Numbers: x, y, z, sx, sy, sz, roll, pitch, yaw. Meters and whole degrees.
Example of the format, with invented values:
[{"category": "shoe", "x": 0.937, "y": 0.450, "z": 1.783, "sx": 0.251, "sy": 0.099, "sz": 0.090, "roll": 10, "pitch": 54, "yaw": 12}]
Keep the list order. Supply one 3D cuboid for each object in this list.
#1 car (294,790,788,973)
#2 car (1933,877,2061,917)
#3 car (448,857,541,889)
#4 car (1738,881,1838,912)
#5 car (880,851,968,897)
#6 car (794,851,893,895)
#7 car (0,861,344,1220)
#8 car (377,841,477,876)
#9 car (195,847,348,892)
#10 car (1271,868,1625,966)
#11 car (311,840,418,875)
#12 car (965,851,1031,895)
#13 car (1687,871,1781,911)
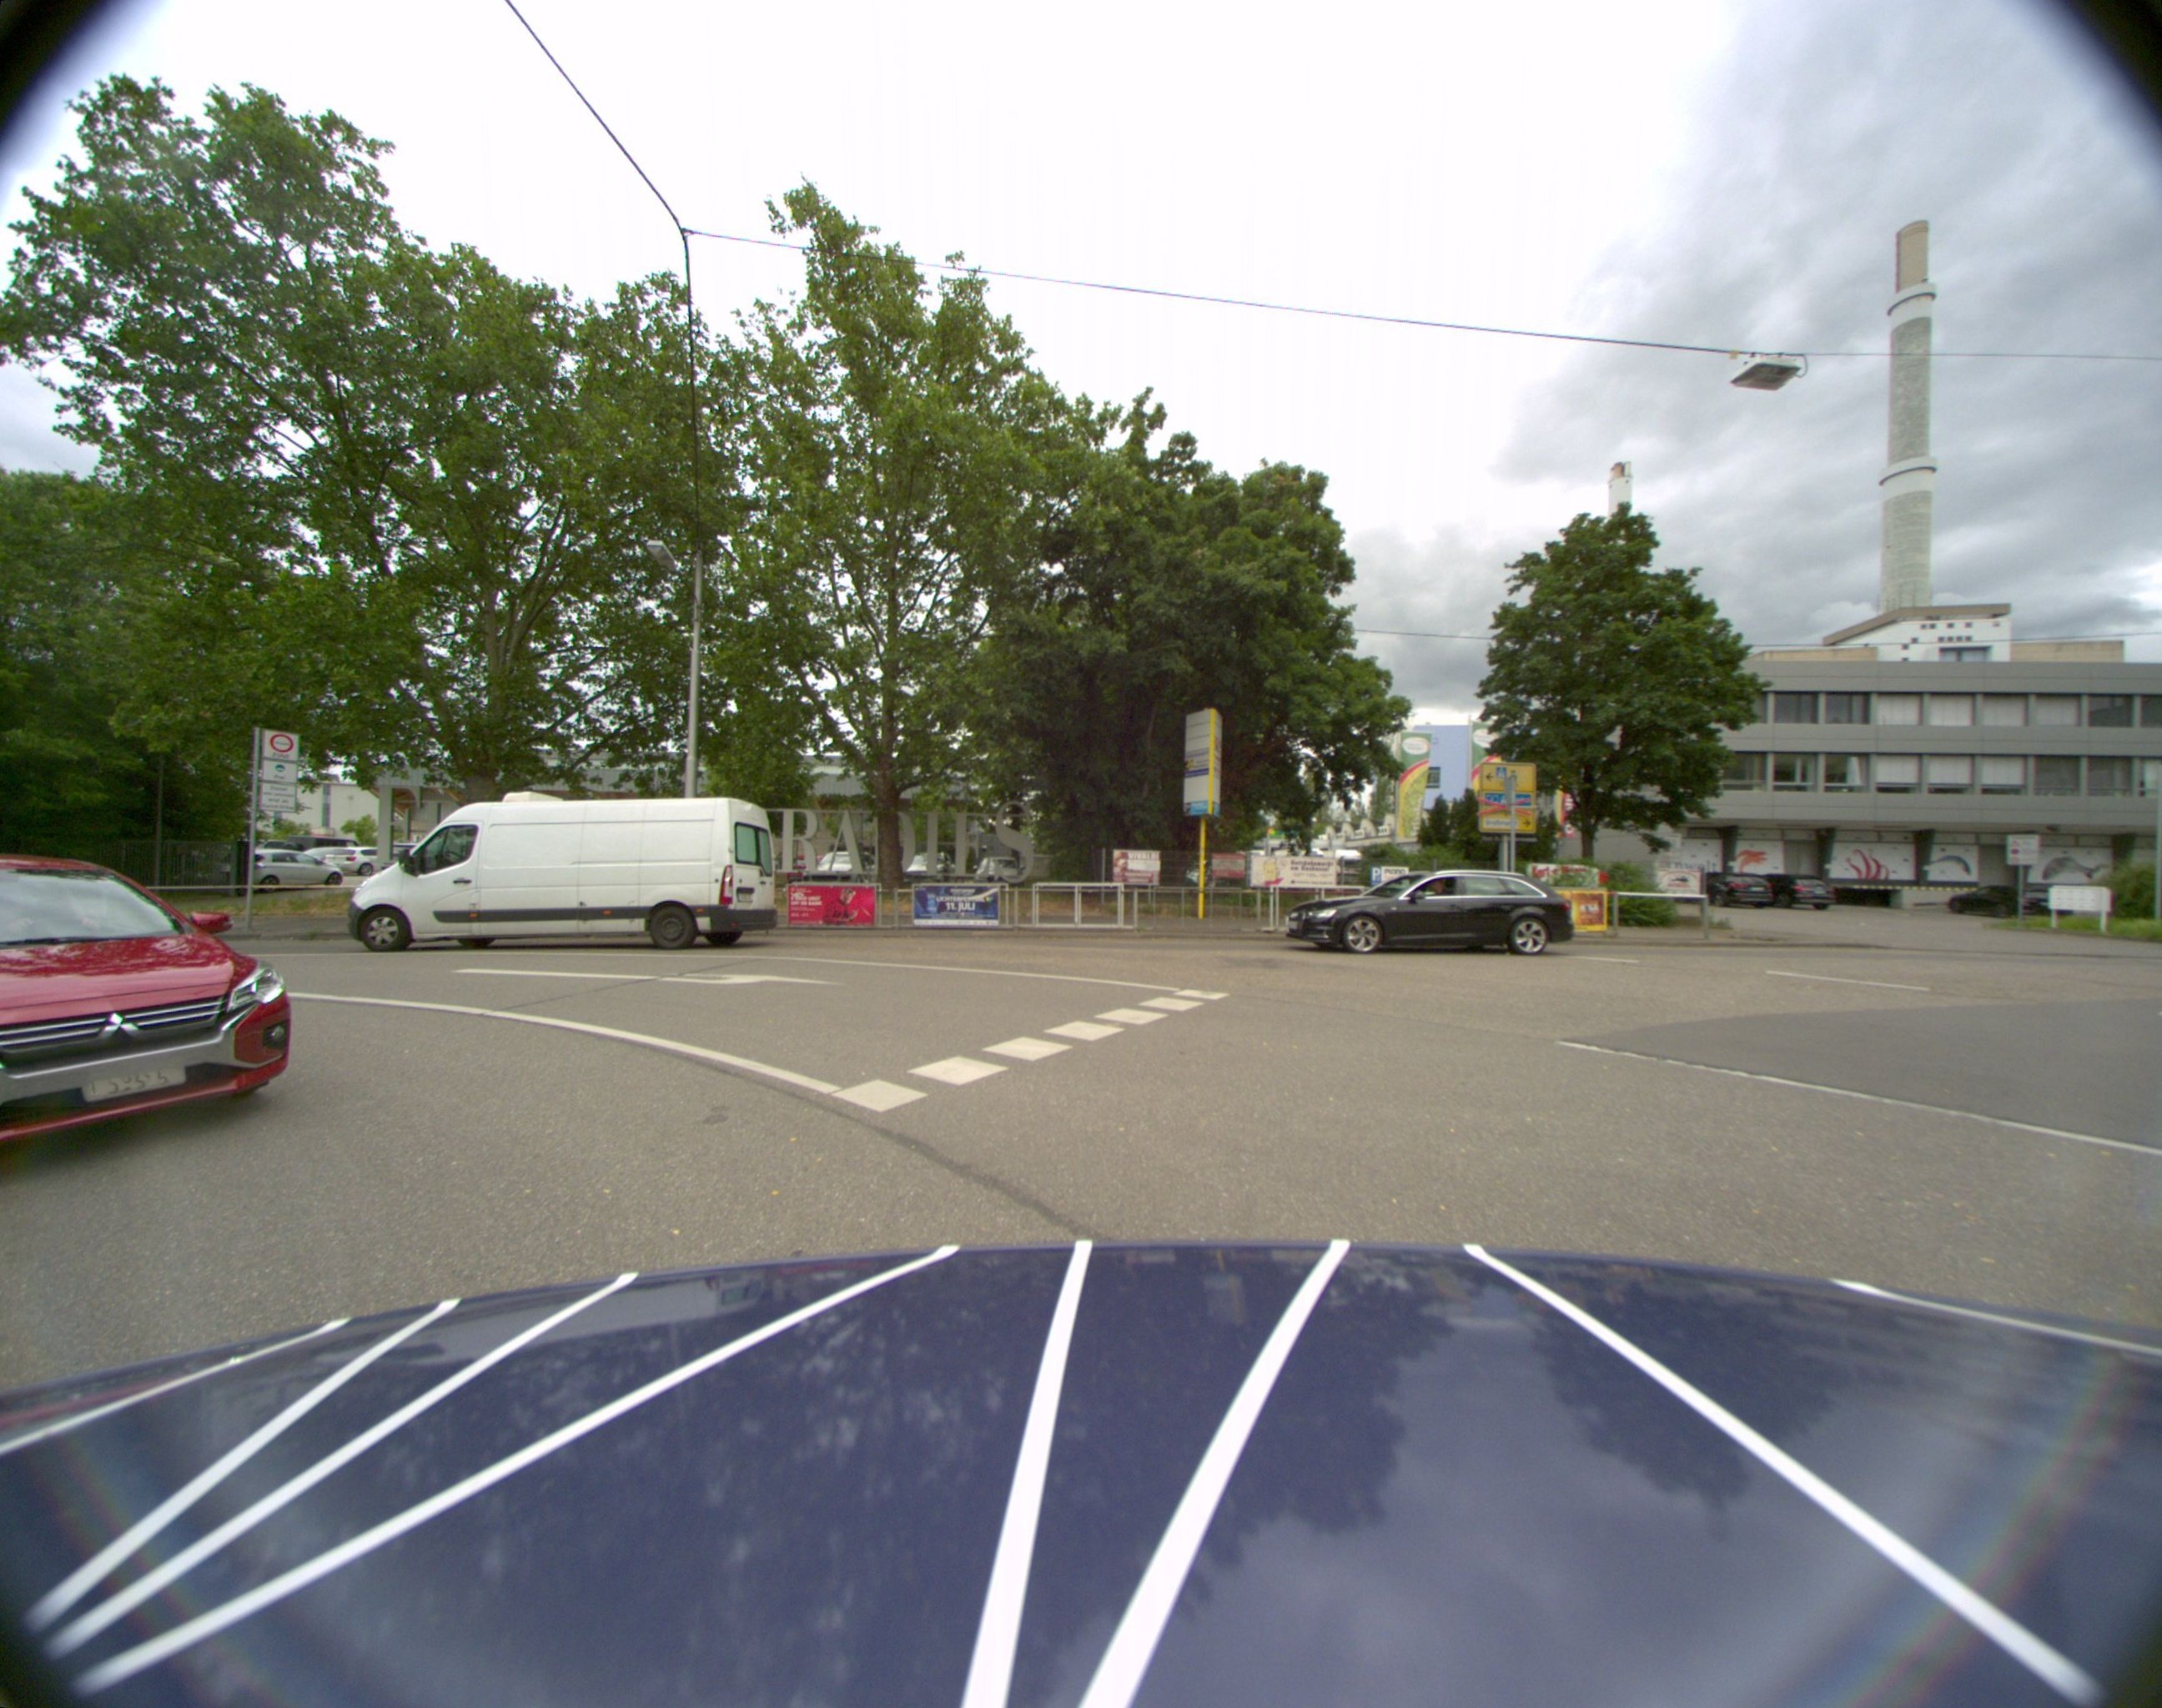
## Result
[{"category": "car", "x": -8.591, "y": 0.406, "z": 12.618, "sx": 6.479, "sy": 2.527, "sz": 2.192, "roll": -2, "pitch": 1, "yaw": -1}, {"category": "car", "x": 41.960, "y": 1.944, "z": 34.932, "sx": 1.747, "sy": 1.543, "sz": 3.611, "roll": -2, "pitch": 1, "yaw": 7}, {"category": "car", "x": -30.219, "y": 0.966, "z": 39.287, "sx": 1.916, "sy": 1.499, "sz": 3.998, "roll": 2, "pitch": -1, "yaw": -5}, {"category": "car", "x": 34.301, "y": 2.041, "z": 36.991, "sx": 1.775, "sy": 1.171, "sz": 3.574, "roll": -2, "pitch": 1, "yaw": 7}, {"category": "car", "x": -5.789, "y": 0.687, "z": 28.681, "sx": 1.998, "sy": 1.449, "sz": 4.701, "roll": -2, "pitch": 1, "yaw": 4}, {"category": "car", "x": -8.915, "y": 0.651, "z": 29.019, "sx": 1.998, "sy": 1.449, "sz": 4.701, "roll": -2, "pitch": 1, "yaw": 4}, {"category": "car", "x": -6.307, "y": 0.814, "z": 4.165, "sx": 3.732, "sy": 1.521, "sz": 1.771, "roll": 0, "pitch": 1, "yaw": 20}, {"category": "car", "x": -33.572, "y": 0.247, "z": 39.174, "sx": 1.916, "sy": 1.690, "sz": 3.998, "roll": 2, "pitch": -1, "yaw": -5}, {"category": "car", "x": -30.633, "y": 0.586, "z": 28.930, "sx": 1.916, "sy": 1.566, "sz": 3.770, "roll": 2, "pitch": -1, "yaw": -5}, {"category": "car", "x": 6.205, "y": 1.049, "z": 13.247, "sx": 5.219, "sy": 1.448, "sz": 2.000, "roll": 2, "pitch": -1, "yaw": -3}, {"category": "car", "x": -36.889, "y": 0.198, "z": 39.294, "sx": 1.916, "sy": 1.690, "sz": 3.998, "roll": 2, "pitch": -1, "yaw": -5}, {"category": "car", "x": -3.067, "y": 0.652, "z": 29.138, "sx": 1.999, "sy": 1.449, "sz": 4.699, "roll": -2, "pitch": 1, "yaw": -1}, {"category": "car", "x": 31.805, "y": 1.747, "z": 37.116, "sx": 1.775, "sy": 1.669, "sz": 3.574, "roll": -2, "pitch": 1, "yaw": 7}]
